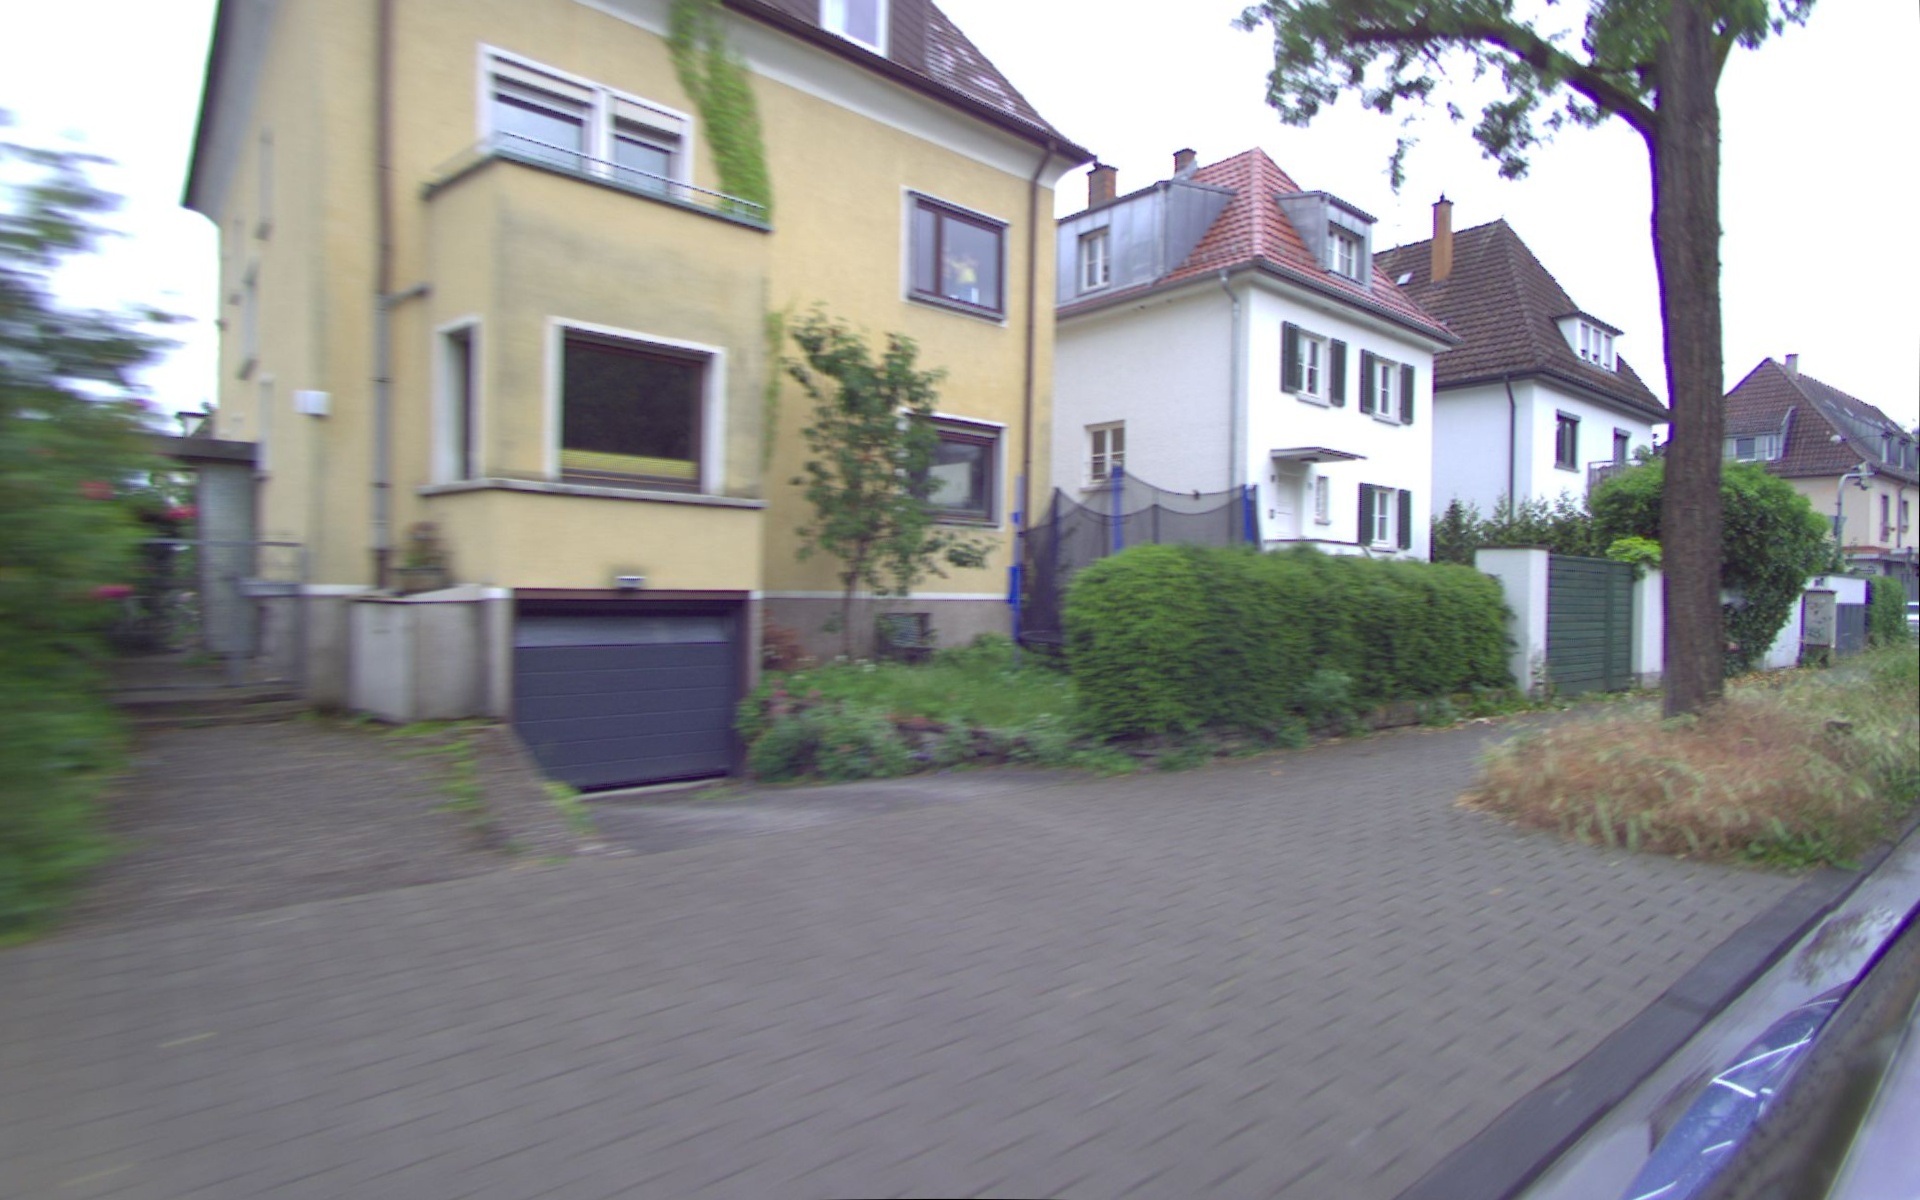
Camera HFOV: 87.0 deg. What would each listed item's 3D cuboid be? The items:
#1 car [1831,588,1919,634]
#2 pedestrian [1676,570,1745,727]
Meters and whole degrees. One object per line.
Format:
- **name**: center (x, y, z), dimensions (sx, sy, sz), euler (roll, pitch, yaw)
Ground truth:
- **car**: center (33.582, 0.375, 35.844), dimensions (1.967, 1.549, 3.991), euler (0, 1, -43)
- **pedestrian**: center (7.649, 0.480, 10.316), dimensions (0.432, 1.553, 0.482), euler (0, -1, -41)
